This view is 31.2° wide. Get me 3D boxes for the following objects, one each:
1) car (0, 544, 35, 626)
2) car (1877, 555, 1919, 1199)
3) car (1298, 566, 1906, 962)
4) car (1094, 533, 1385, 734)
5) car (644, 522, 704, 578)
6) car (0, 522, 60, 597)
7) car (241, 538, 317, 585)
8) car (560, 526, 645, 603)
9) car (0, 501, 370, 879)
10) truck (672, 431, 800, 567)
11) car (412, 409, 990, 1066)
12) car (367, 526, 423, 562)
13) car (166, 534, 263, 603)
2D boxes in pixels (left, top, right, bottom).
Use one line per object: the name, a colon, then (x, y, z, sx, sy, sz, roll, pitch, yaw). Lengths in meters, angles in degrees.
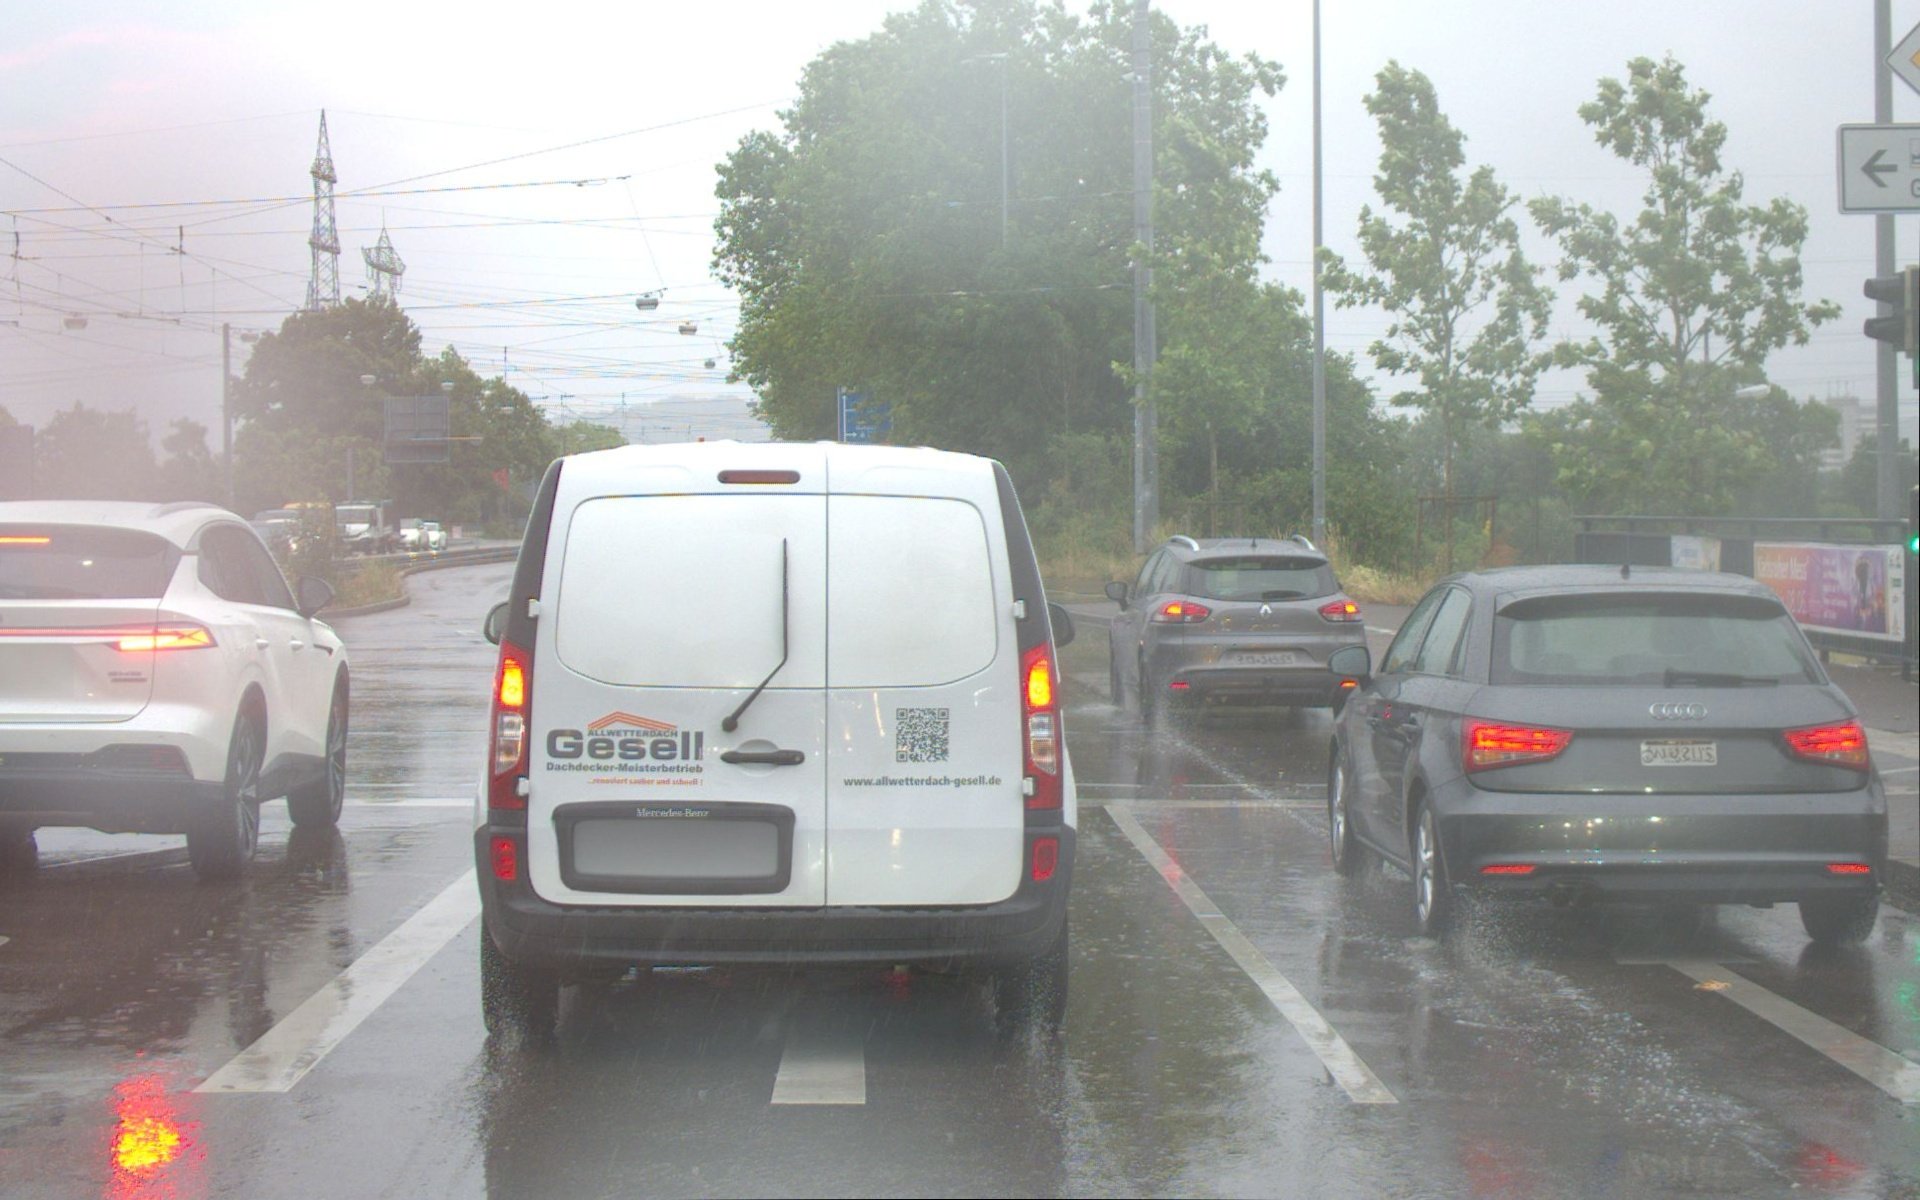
car: (-22.168, -0.340, 76.369, 1.929, 1.820, 3.999, 1, 1, 4)
car: (2.625, 0.711, 4.620, 1.713, 1.503, 3.624, 1, 1, -2)
car: (2.397, 0.551, 13.688, 1.629, 1.340, 3.624, 1, 1, -2)
car: (2.125, 0.211, 27.118, 1.859, 1.424, 3.808, 1, 1, -2)
car: (-9.754, -1.715, 117.283, 1.993, 1.853, 4.001, 0, 1, -5)
car: (-26.042, -1.103, 93.392, 1.993, 2.007, 4.000, 1, 1, 2)
car: (-22.926, -1.292, 115.868, 1.763, 1.544, 3.680, 1, 1, 1)
car: (-8.901, -0.887, 85.379, 1.993, 1.853, 4.001, 1, 1, -7)
car: (-3.951, 0.307, 16.127, 1.728, 1.530, 4.298, 1, 1, -2)
truck: (-4.861, -2.140, 75.044, 2.632, 2.806, 7.146, 0, 1, -3)
car: (-0.727, 0.350, 11.364, 1.566, 1.782, 4.000, 0, 1, -1)
car: (-27.271, -2.681, 166.051, 1.993, 1.702, 4.000, 1, 1, 1)
car: (-22.516, -0.961, 103.987, 1.993, 2.007, 4.000, 1, 1, 1)
